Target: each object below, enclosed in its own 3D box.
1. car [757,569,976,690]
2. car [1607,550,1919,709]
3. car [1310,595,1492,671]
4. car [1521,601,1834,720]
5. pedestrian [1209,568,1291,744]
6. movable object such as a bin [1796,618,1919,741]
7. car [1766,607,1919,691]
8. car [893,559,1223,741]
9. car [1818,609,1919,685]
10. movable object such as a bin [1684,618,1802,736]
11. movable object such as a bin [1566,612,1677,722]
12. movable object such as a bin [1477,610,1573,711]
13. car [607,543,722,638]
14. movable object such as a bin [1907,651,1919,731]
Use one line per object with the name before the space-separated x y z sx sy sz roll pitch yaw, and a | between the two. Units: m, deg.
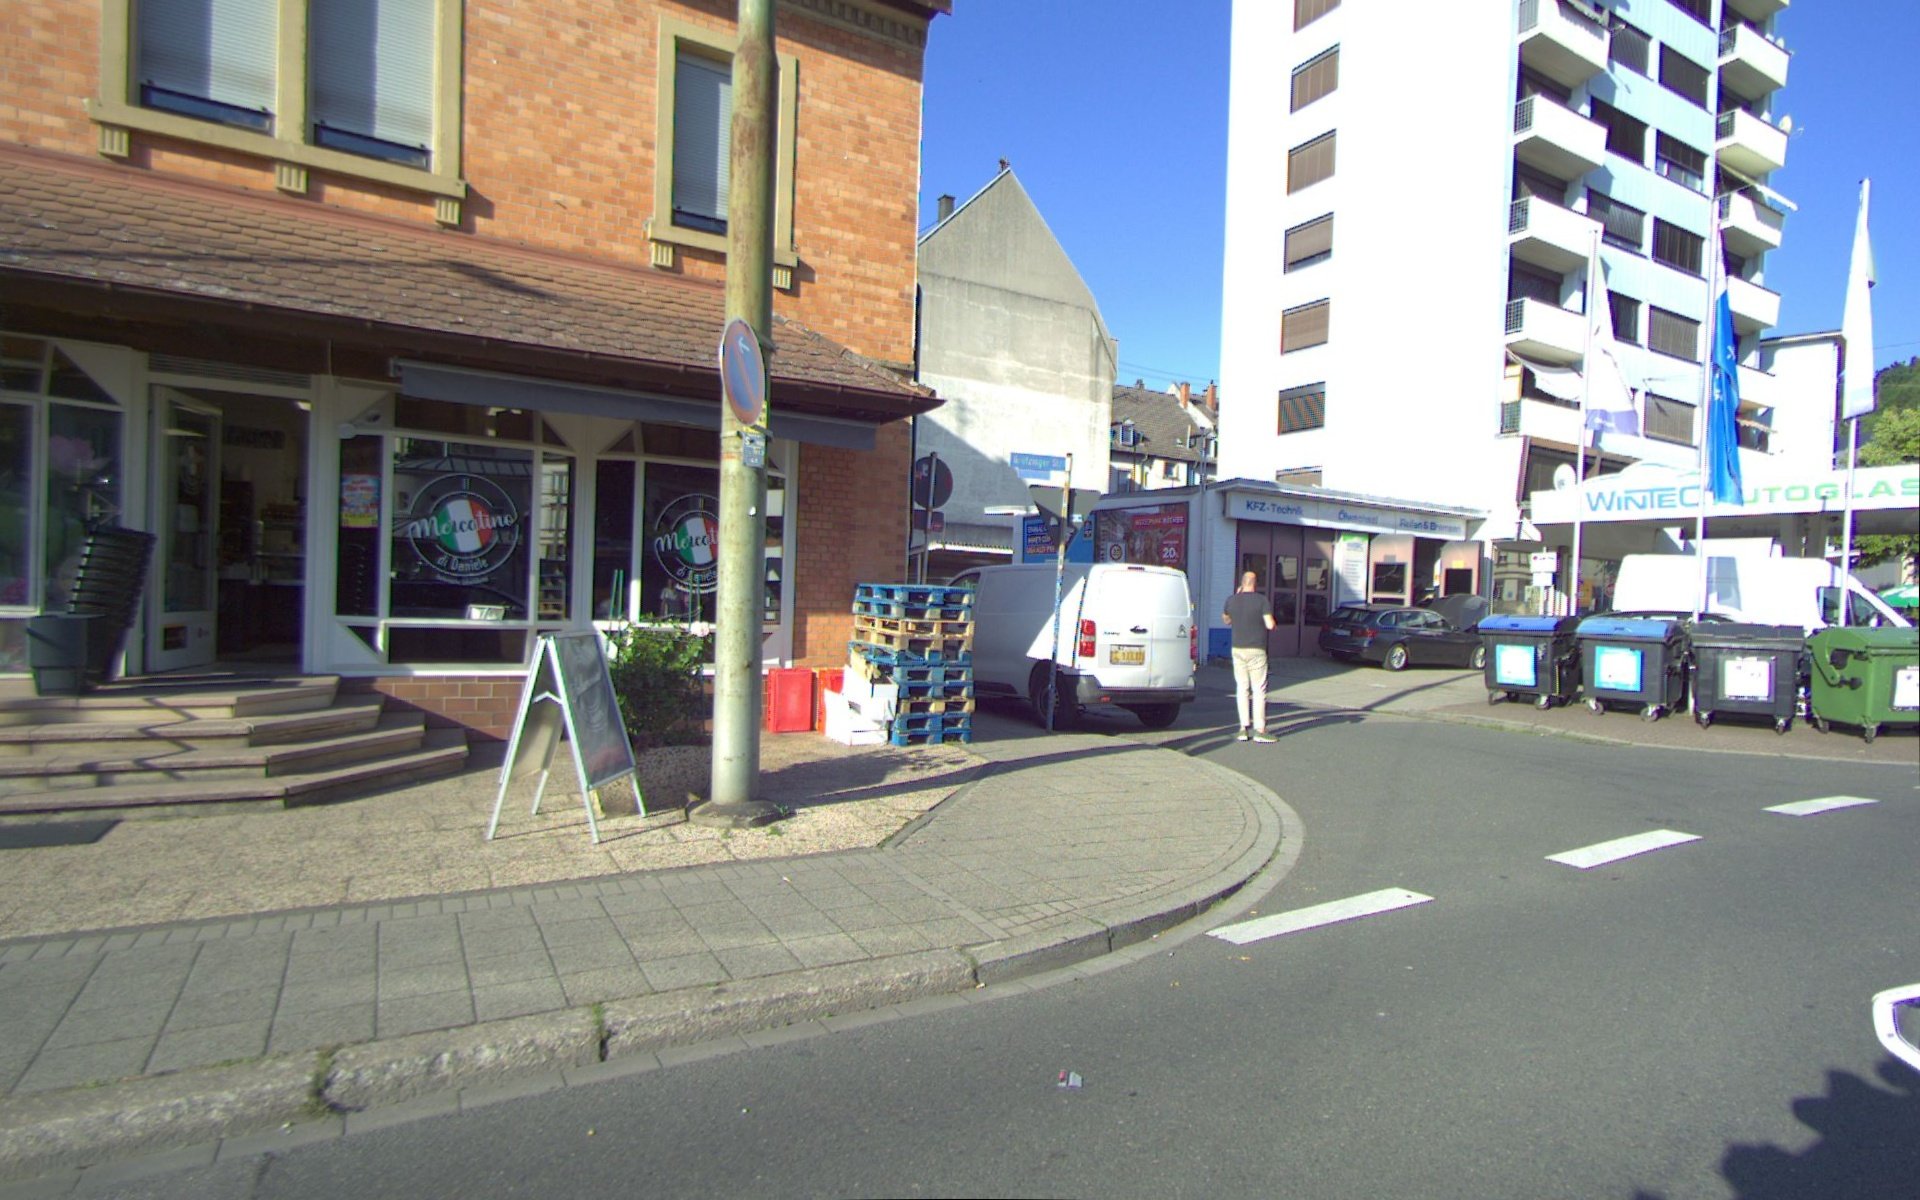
car | -1.903 0.455 18.585 1.979 1.920 4.931 2 0 -33
car | 14.631 0.433 17.846 4.995 2.502 2.099 3 1 40
car | 10.471 0.749 23.786 4.265 1.589 1.758 1 2 -31
car | 11.861 0.890 16.799 1.760 1.589 3.949 0 2 -43
pedestrian | 3.299 0.603 11.378 0.804 1.893 0.795 2 1 20
movable object such as a bin | 12.161 1.022 13.305 1.286 1.503 1.058 -1 2 -1
car | 19.091 1.007 20.789 3.325 1.589 1.623 2 1 15
car | 1.052 0.531 13.250 1.977 1.959 4.591 2 0 -31
car | 21.727 1.070 22.554 3.324 1.589 1.623 2 1 10
movable object such as a bin | 10.725 1.023 13.805 1.201 1.503 0.702 0 2 33
movable object such as a bin | 9.874 0.965 15.022 0.696 1.503 1.211 -2 2 -33
movable object such as a bin | 9.063 0.941 16.136 0.696 1.503 1.171 -2 2 -33
car | -9.725 -0.291 32.637 2.114 2.763 6.076 2 0 -31
movable object such as a bin | 13.280 1.244 13.430 0.575 1.077 0.660 0 3 -17
